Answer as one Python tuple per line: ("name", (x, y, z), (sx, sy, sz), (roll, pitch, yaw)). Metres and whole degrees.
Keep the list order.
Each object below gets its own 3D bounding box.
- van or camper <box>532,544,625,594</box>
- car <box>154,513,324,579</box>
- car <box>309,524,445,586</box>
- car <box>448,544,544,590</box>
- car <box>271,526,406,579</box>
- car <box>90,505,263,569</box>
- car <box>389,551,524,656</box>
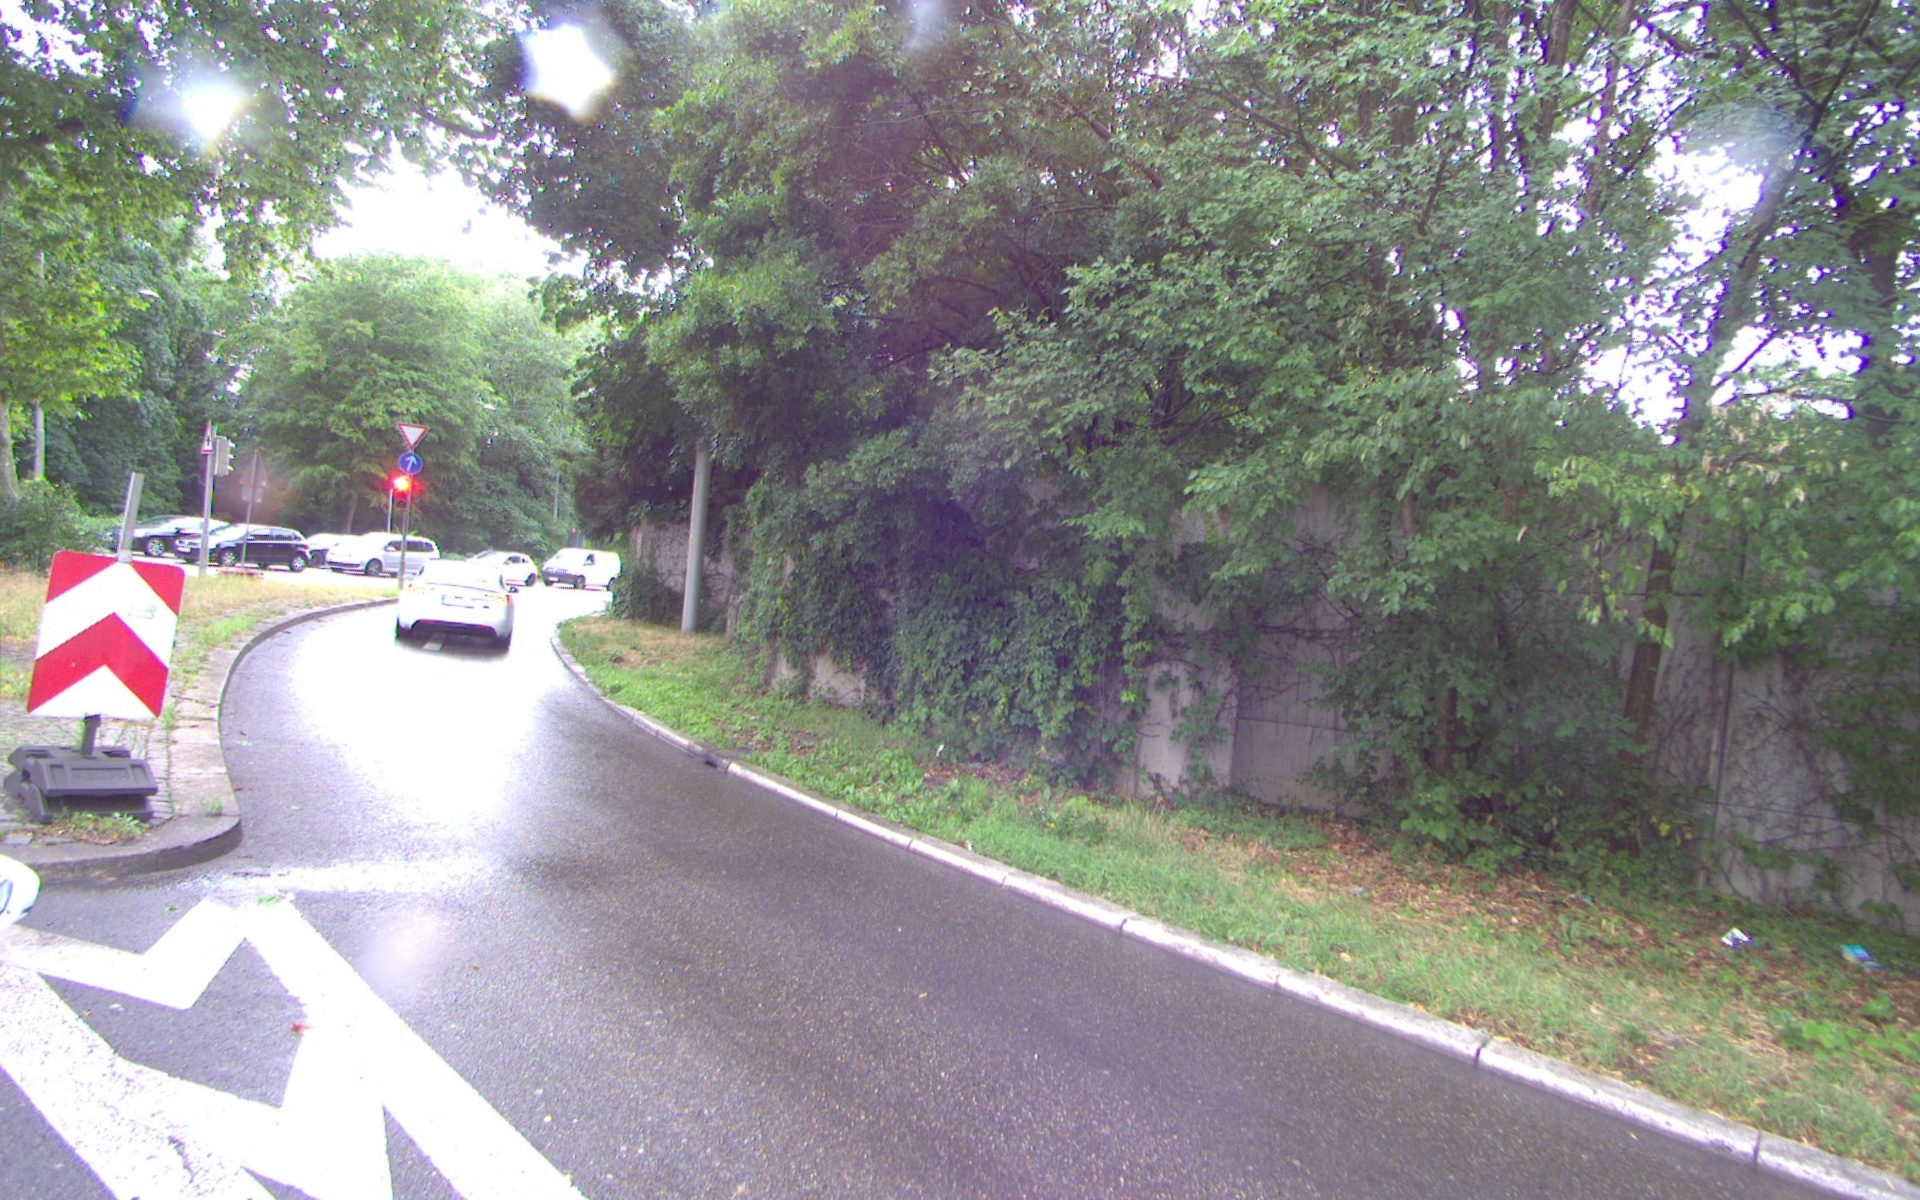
("van or camper", (-19.126, -1.507, 50.708), (1.870, 1.970, 4.870), (7, -1, 12))
("car", (-23.316, -1.700, 32.734), (1.759, 1.477, 4.205), (7, -2, 16))
("car", (-22.089, -1.650, 38.313), (1.871, 1.699, 4.216), (7, -2, 16))
("car", (-20.545, -1.420, 44.692), (1.627, 1.478, 3.869), (7, -2, 16))
("car", (-24.790, -1.871, 40.319), (1.795, 1.418, 4.452), (7, -2, 16))
("car", (-26.643, -2.100, 34.398), (1.913, 1.457, 4.218), (7, -2, 16))
("car", (-9.358, 0.007, 19.023), (1.837, 1.464, 4.593), (11, -3, -24))
